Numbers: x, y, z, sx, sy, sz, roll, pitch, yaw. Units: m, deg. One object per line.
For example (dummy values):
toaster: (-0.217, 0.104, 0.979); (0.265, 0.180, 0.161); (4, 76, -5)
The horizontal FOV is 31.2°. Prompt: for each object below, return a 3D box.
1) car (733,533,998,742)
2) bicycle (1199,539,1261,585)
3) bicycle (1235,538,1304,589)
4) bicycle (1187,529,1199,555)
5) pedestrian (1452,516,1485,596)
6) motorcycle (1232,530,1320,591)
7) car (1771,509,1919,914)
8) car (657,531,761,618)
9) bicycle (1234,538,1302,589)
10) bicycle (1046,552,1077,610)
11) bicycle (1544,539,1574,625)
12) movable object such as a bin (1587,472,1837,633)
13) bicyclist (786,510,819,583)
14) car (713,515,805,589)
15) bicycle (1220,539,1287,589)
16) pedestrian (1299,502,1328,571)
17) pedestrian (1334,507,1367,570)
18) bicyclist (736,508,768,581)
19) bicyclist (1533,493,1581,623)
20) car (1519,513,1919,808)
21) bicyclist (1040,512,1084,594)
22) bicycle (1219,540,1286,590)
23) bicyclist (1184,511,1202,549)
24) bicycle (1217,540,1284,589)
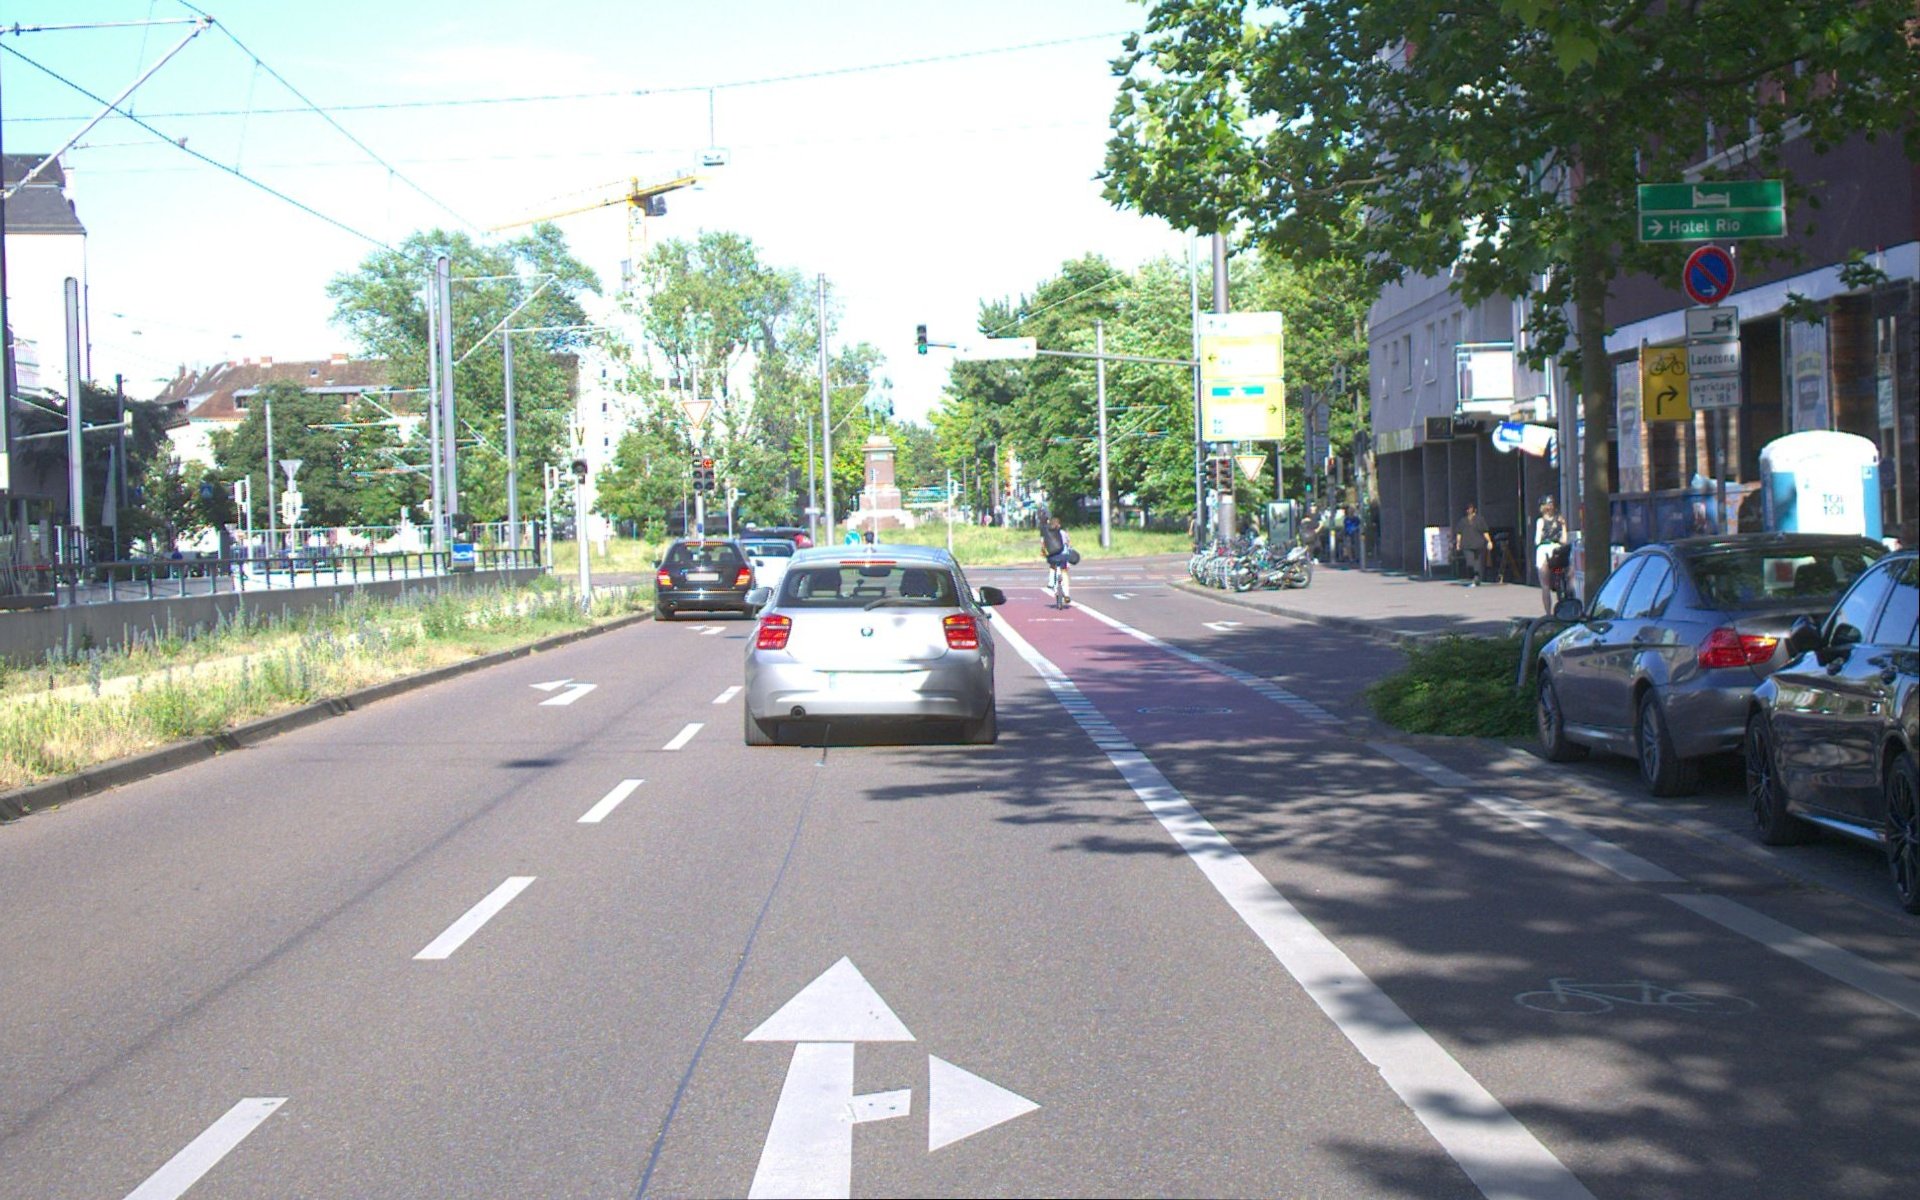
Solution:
car: (-0.696, 0.215, 25.345); (1.798, 1.410, 4.000); (0, 1, -2)
bicycle: (6.544, -0.924, 83.277); (1.465, 1.063, 0.257); (-2, 0, 2)
bicycle: (6.787, -0.802, 75.424); (1.465, 1.063, 0.257); (-2, 0, 2)
bicycle: (8.557, -2.121, 126.391); (0.352, 0.955, 1.573); (1, 1, 1)
pedestrian: (10.108, -0.883, 68.375); (0.573, 1.577, 0.556); (0, 1, 0)
motorcycle: (6.780, -0.850, 73.859); (1.855, 1.296, 0.652); (0, 1, 3)
car: (4.574, 0.403, 12.642); (2.038, 1.504, 4.594); (-1, 1, -1)
car: (-4.385, -0.474, 60.505); (1.726, 1.465, 4.411); (0, 1, -3)
bicycle: (6.791, -0.807, 75.795); (1.465, 1.063, 0.257); (-2, 0, 2)
bicycle: (1.920, -0.368, 65.237); (0.499, 1.085, 1.997); (1, 1, -1)
bicycle: (7.860, -0.246, 45.092); (0.317, 1.081, 1.684); (-1, 1, 12)
movable object such as a bin: (9.126, -0.621, 41.994); (1.945, 1.837, 3.481); (-1, 2, -6)
bicyclist: (-3.402, -1.159, 74.349); (0.616, 1.566, 0.686); (0, 1, -12)
car: (-3.988, -0.965, 68.786); (1.644, 1.416, 4.000); (0, 1, -1)
bicycle: (6.576, -0.804, 77.009); (1.465, 1.063, 0.257); (-2, 0, 2)
pedestrian: (10.370, -1.851, 100.844); (0.791, 2.007, 0.870); (1, 1, 7)
pedestrian: (11.563, -1.809, 101.846); (0.826, 1.850, 0.916); (1, 1, 14)
bicyclist: (-4.491, -1.196, 74.201); (0.616, 1.566, 0.686); (1, 1, 1)
bicyclist: (7.830, -0.555, 45.082); (0.601, 1.684, 0.597); (-1, 1, 10)
car: (4.588, 0.272, 20.347); (1.789, 1.550, 4.436); (0, 1, -1)
bicyclist: (1.932, -0.897, 65.284); (0.785, 1.526, 0.895); (1, 1, -1)
bicycle: (6.630, -0.793, 77.874); (1.465, 1.063, 0.257); (-2, 0, 2)
bicyclist: (8.562, -2.580, 126.281); (0.616, 1.375, 0.686); (1, 1, 1)
bicycle: (6.613, -0.806, 78.247); (1.465, 1.063, 0.257); (-2, 0, 2)
